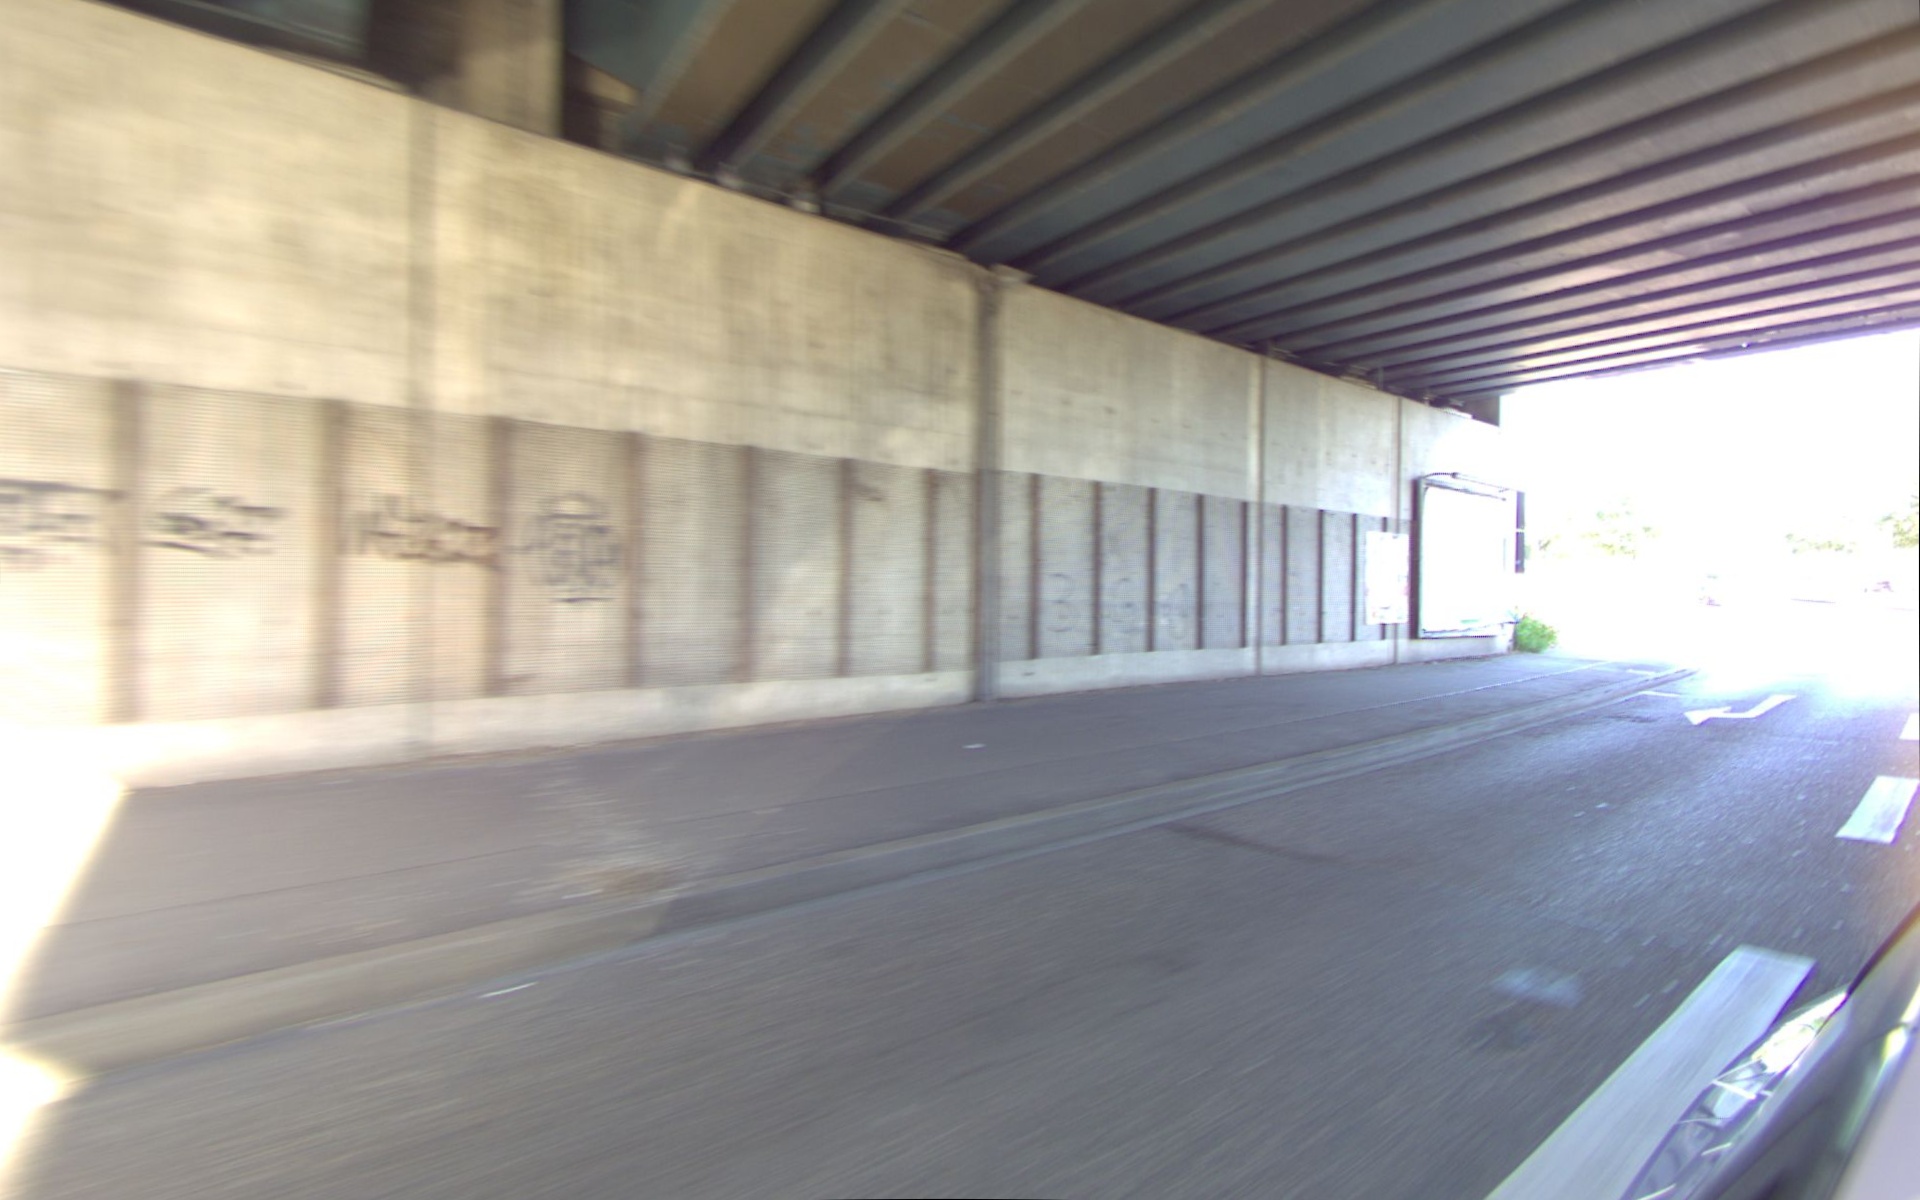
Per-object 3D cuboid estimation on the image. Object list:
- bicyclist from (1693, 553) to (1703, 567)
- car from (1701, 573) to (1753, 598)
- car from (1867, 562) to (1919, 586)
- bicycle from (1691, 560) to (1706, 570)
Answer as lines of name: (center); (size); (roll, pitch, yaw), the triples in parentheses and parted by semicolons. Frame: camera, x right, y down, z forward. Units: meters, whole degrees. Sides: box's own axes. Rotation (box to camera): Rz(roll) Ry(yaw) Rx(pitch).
bicyclist: (79.018, -4.295, 108.310); (0.584, 1.445, 0.706); (-1, 0, 11)
car: (48.692, -0.891, 64.306); (1.830, 1.501, 3.947); (1, 0, 25)
car: (65.577, -1.790, 70.534); (1.804, 1.607, 4.164); (1, 1, 15)
bicycle: (79.033, -3.770, 108.321); (0.584, 1.036, 1.745); (-1, 2, 11)
